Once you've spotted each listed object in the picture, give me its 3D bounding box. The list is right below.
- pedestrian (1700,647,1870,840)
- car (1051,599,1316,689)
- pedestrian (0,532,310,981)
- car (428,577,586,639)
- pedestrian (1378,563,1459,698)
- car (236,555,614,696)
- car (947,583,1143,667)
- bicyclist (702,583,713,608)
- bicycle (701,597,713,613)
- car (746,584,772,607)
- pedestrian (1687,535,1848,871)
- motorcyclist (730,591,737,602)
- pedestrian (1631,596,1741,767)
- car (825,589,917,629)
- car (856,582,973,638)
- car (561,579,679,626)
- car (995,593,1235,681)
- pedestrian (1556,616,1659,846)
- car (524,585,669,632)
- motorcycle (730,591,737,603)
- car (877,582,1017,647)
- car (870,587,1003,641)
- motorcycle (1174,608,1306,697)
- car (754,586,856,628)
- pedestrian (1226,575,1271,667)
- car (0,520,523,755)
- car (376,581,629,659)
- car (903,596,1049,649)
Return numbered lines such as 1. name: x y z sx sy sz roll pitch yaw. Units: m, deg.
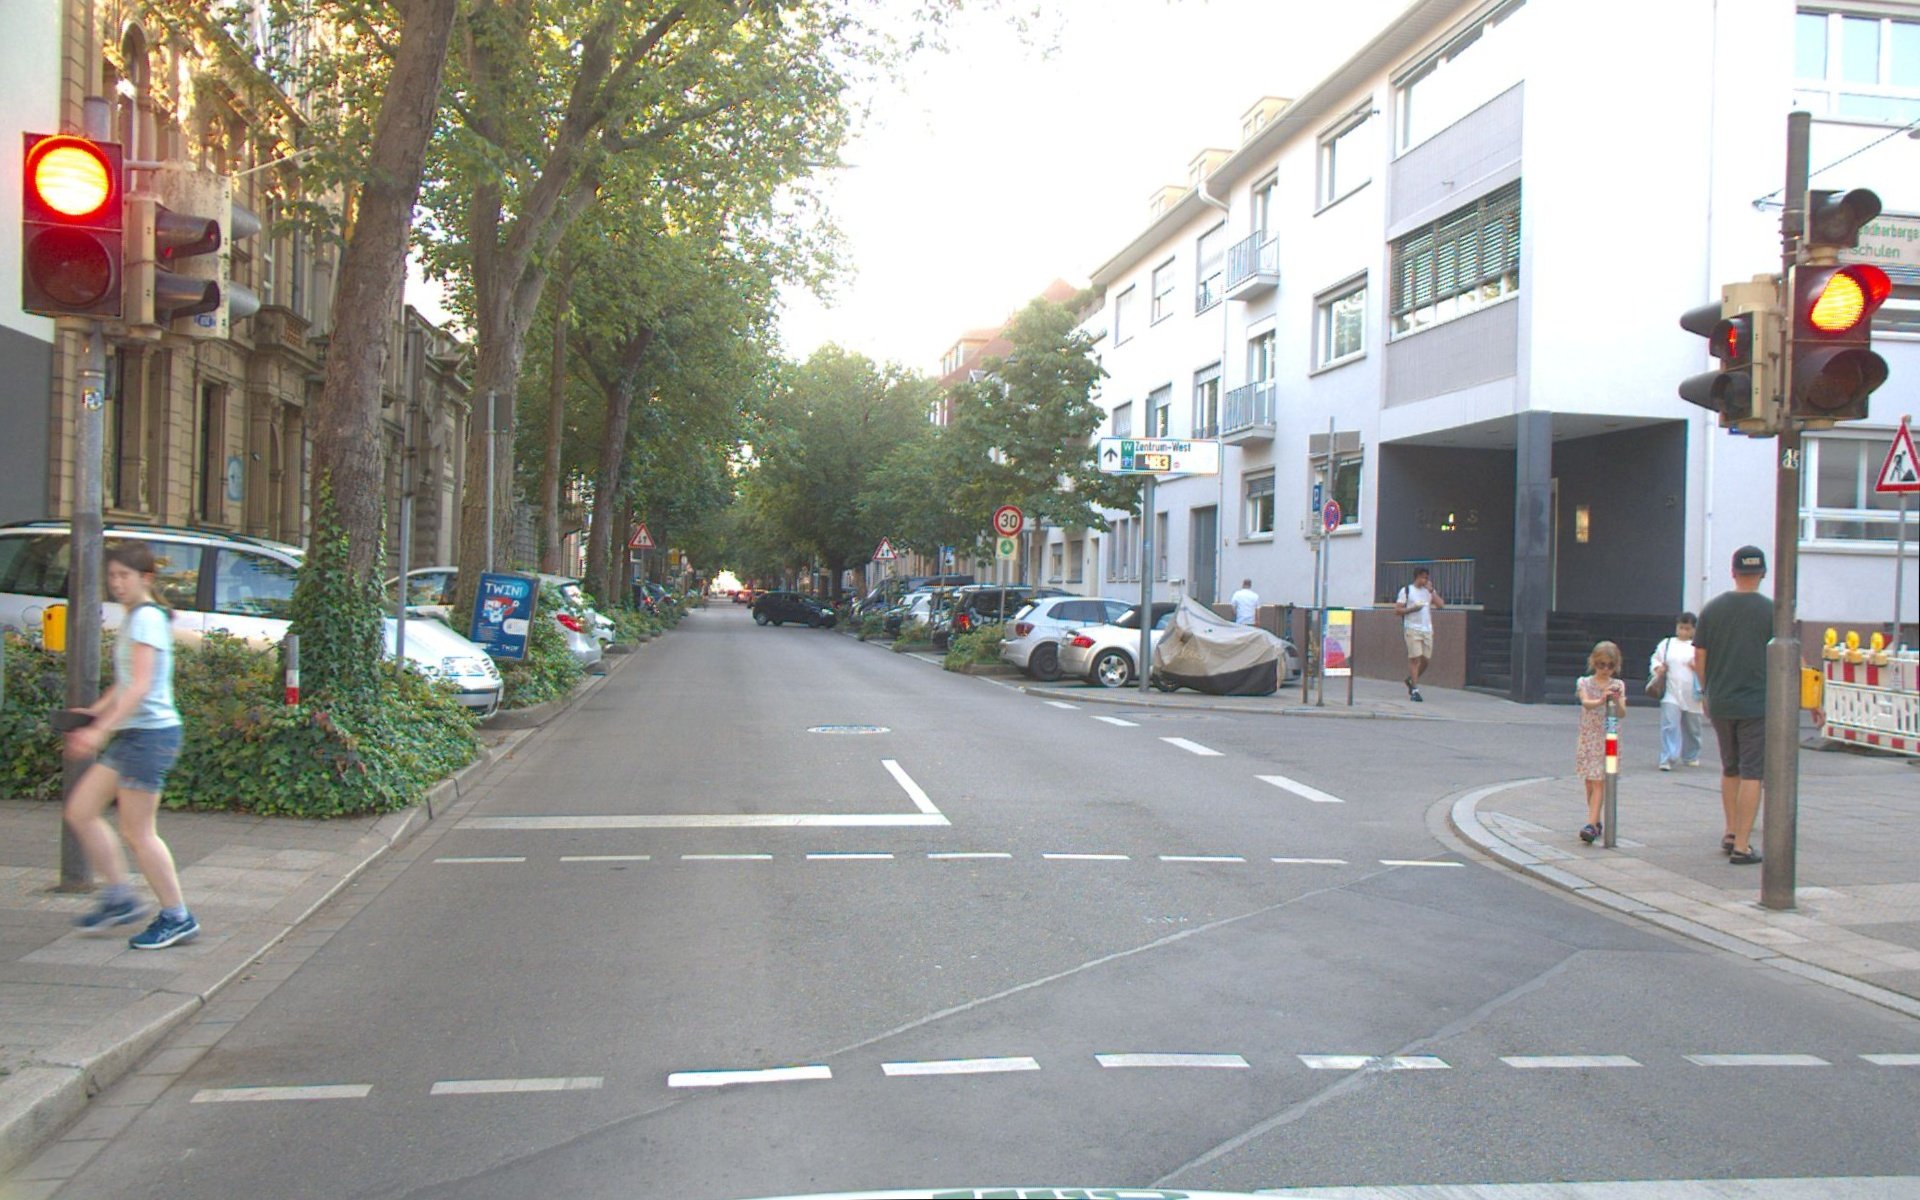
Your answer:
1. pedestrian: 5.308 0.899 10.671 0.556 1.140 0.833 0 1 -18
2. car: 3.575 0.691 26.754 3.939 1.366 1.704 1 0 -8
3. pedestrian: -3.147 0.568 6.398 0.968 1.584 0.693 4 -1 -34
4. car: -12.508 0.223 45.878 3.963 1.618 1.830 1 0 -8
5. pedestrian: 6.503 0.421 23.516 0.752 1.873 0.942 2 0 -8
6. car: -6.951 0.335 21.913 4.462 1.718 1.830 1 0 -8
7. car: 1.798 0.532 35.595 3.939 1.720 1.704 1 0 -9
8. bicyclist: -15.294 -0.267 100.073 0.561 1.495 0.640 2 -1 -14
9. bicycle: -15.273 0.306 99.914 0.561 0.966 1.738 2 -1 -14
10. car: -15.118 -0.346 124.236 1.791 1.589 4.019 3 0 -9
11. pedestrian: 4.703 0.549 9.656 0.776 1.847 0.890 1 2 26
12. motorcyclist: -26.081 -0.364 190.286 0.803 1.258 0.849 3 0 -8
13. pedestrian: 6.834 0.742 15.556 0.761 1.527 0.799 2 1 36
14. car: -3.993 0.395 73.798 3.939 1.630 1.704 2 0 -9
15. car: -1.643 0.365 59.017 3.939 1.862 1.704 2 0 -9
16. car: -13.607 0.096 66.369 4.462 1.721 1.830 2 0 -8
17. car: 2.700 0.634 29.266 3.939 1.467 1.704 1 0 -9
18. pedestrian: 4.022 0.793 10.301 0.494 1.359 0.541 2 0 14
19. car: -11.879 0.280 54.285 4.462 1.434 1.830 1 0 -8
20. motorcycle: -26.095 -0.363 190.375 0.803 1.258 2.021 3 0 -8
21. car: -0.414 0.423 48.968 3.939 1.847 1.704 1 0 -9
22. car: -0.757 0.443 51.800 3.939 1.557 1.704 2 0 -9
23. motorcycle: 3.980 0.736 23.584 1.763 1.220 0.613 1 0 1
24. car: -6.685 0.311 71.501 3.894 1.605 1.911 2 0 14
25. pedestrian: 5.741 0.405 32.911 0.690 1.782 0.699 2 0 -4
26. car: -6.200 0.319 14.405 4.466 1.867 1.828 1 0 -11
27. car: -8.767 0.384 32.027 4.462 1.396 1.830 1 0 -8
28. car: 0.429 0.622 46.769 3.939 1.434 1.704 1 0 -9
